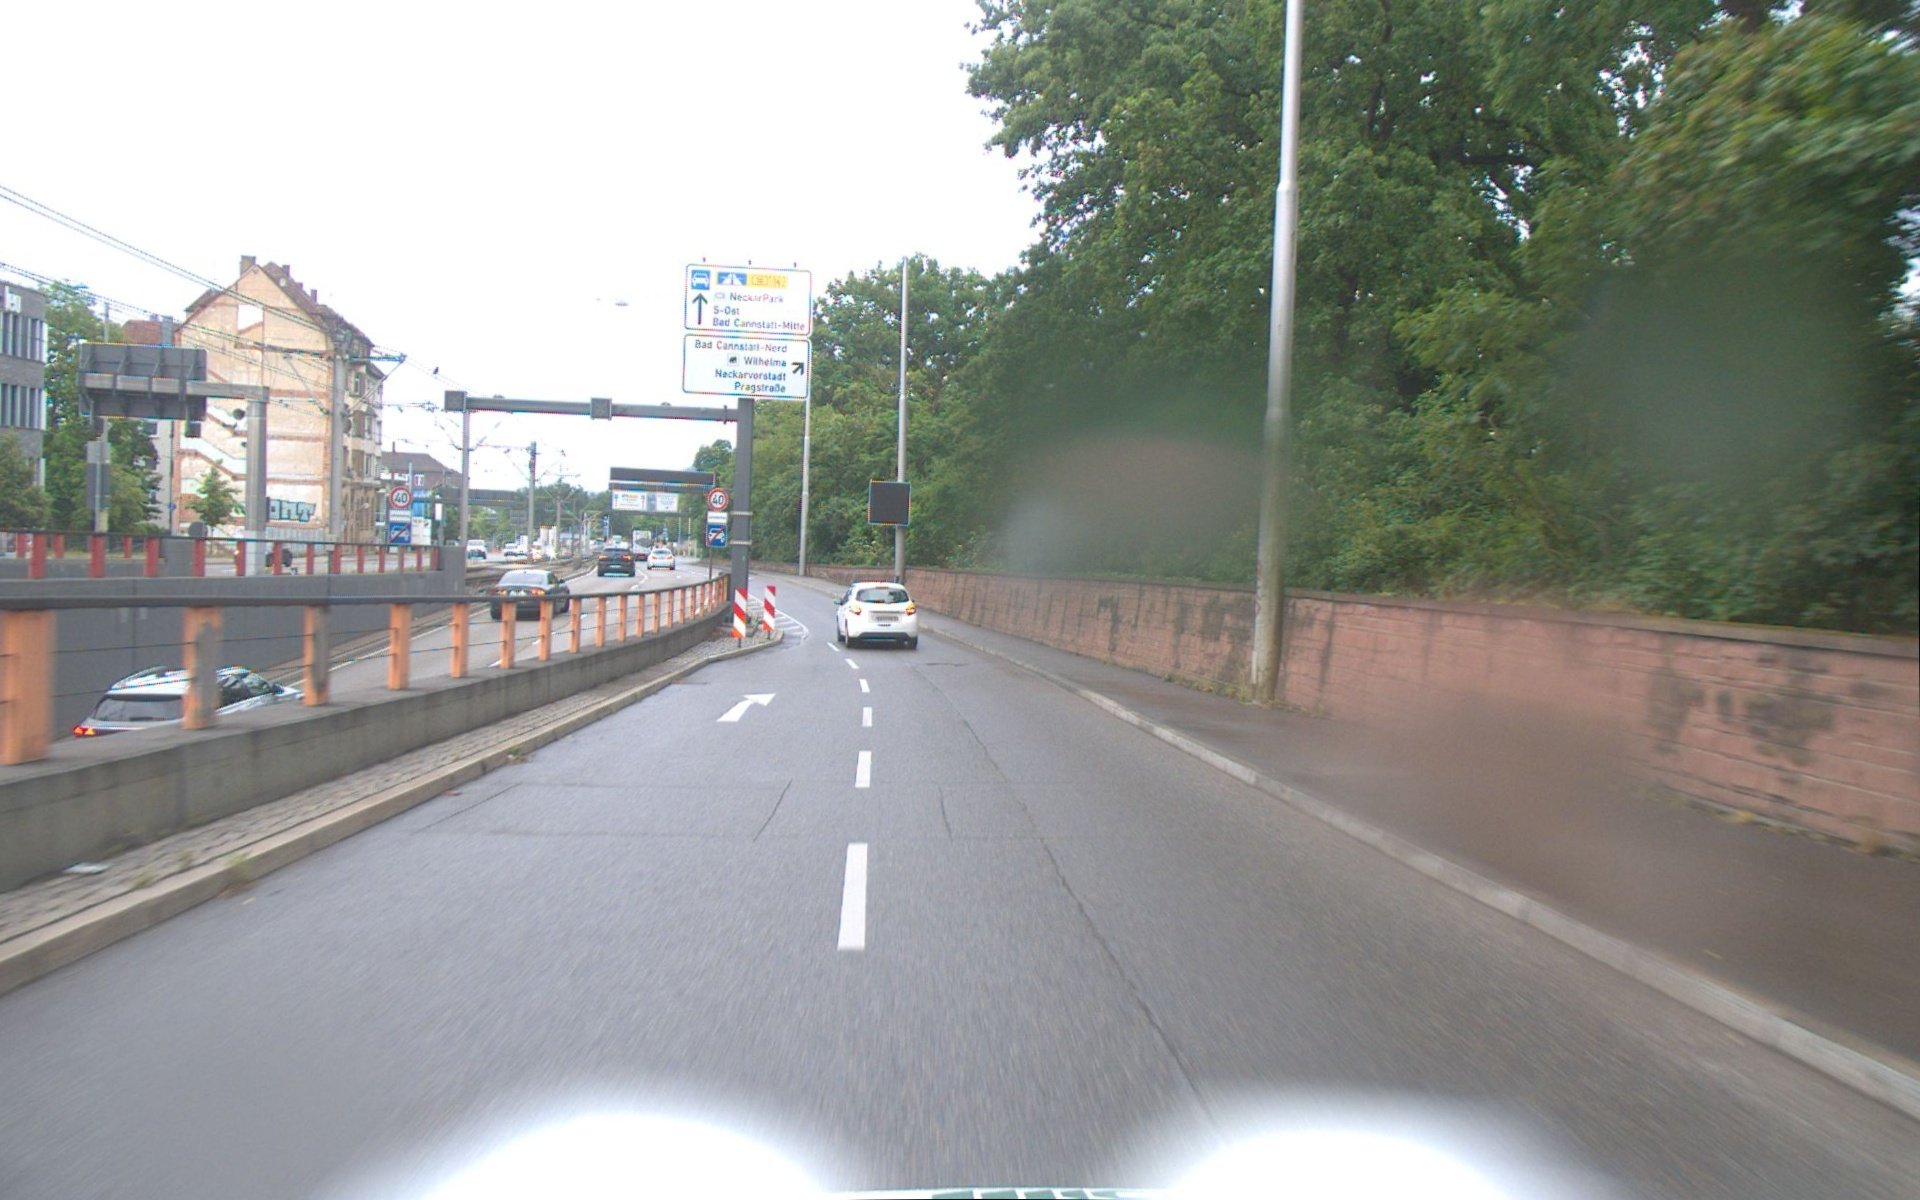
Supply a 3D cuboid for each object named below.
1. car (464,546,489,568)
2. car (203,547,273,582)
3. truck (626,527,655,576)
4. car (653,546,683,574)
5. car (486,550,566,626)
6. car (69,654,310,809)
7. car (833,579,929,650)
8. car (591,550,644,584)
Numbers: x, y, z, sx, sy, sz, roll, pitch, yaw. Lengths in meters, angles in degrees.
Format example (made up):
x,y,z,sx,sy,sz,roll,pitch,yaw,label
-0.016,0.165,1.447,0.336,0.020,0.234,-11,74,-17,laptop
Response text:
x,y,z,sx,sy,sz,roll,pitch,yaw,label
-50.561,-4.514,172.862,1.958,2.155,5.097,2,0,-11,car
-35.520,-1.769,81.434,1.788,1.612,3.831,2,2,-1,car
-41.670,-6.220,215.990,3.402,5.496,12.020,2,-2,-10,truck
-20.537,-2.788,116.147,2.044,1.905,4.085,1,1,-11,car
-12.858,-0.394,49.166,1.688,1.923,3.534,2,5,-5,car
-11.044,1.816,24.040,1.785,1.592,4.091,0,4,-4,car
-1.925,0.386,39.215,1.918,1.514,3.993,2,-2,-7,car
-16.726,-1.581,80.890,1.954,1.603,3.997,1,1,-3,car
